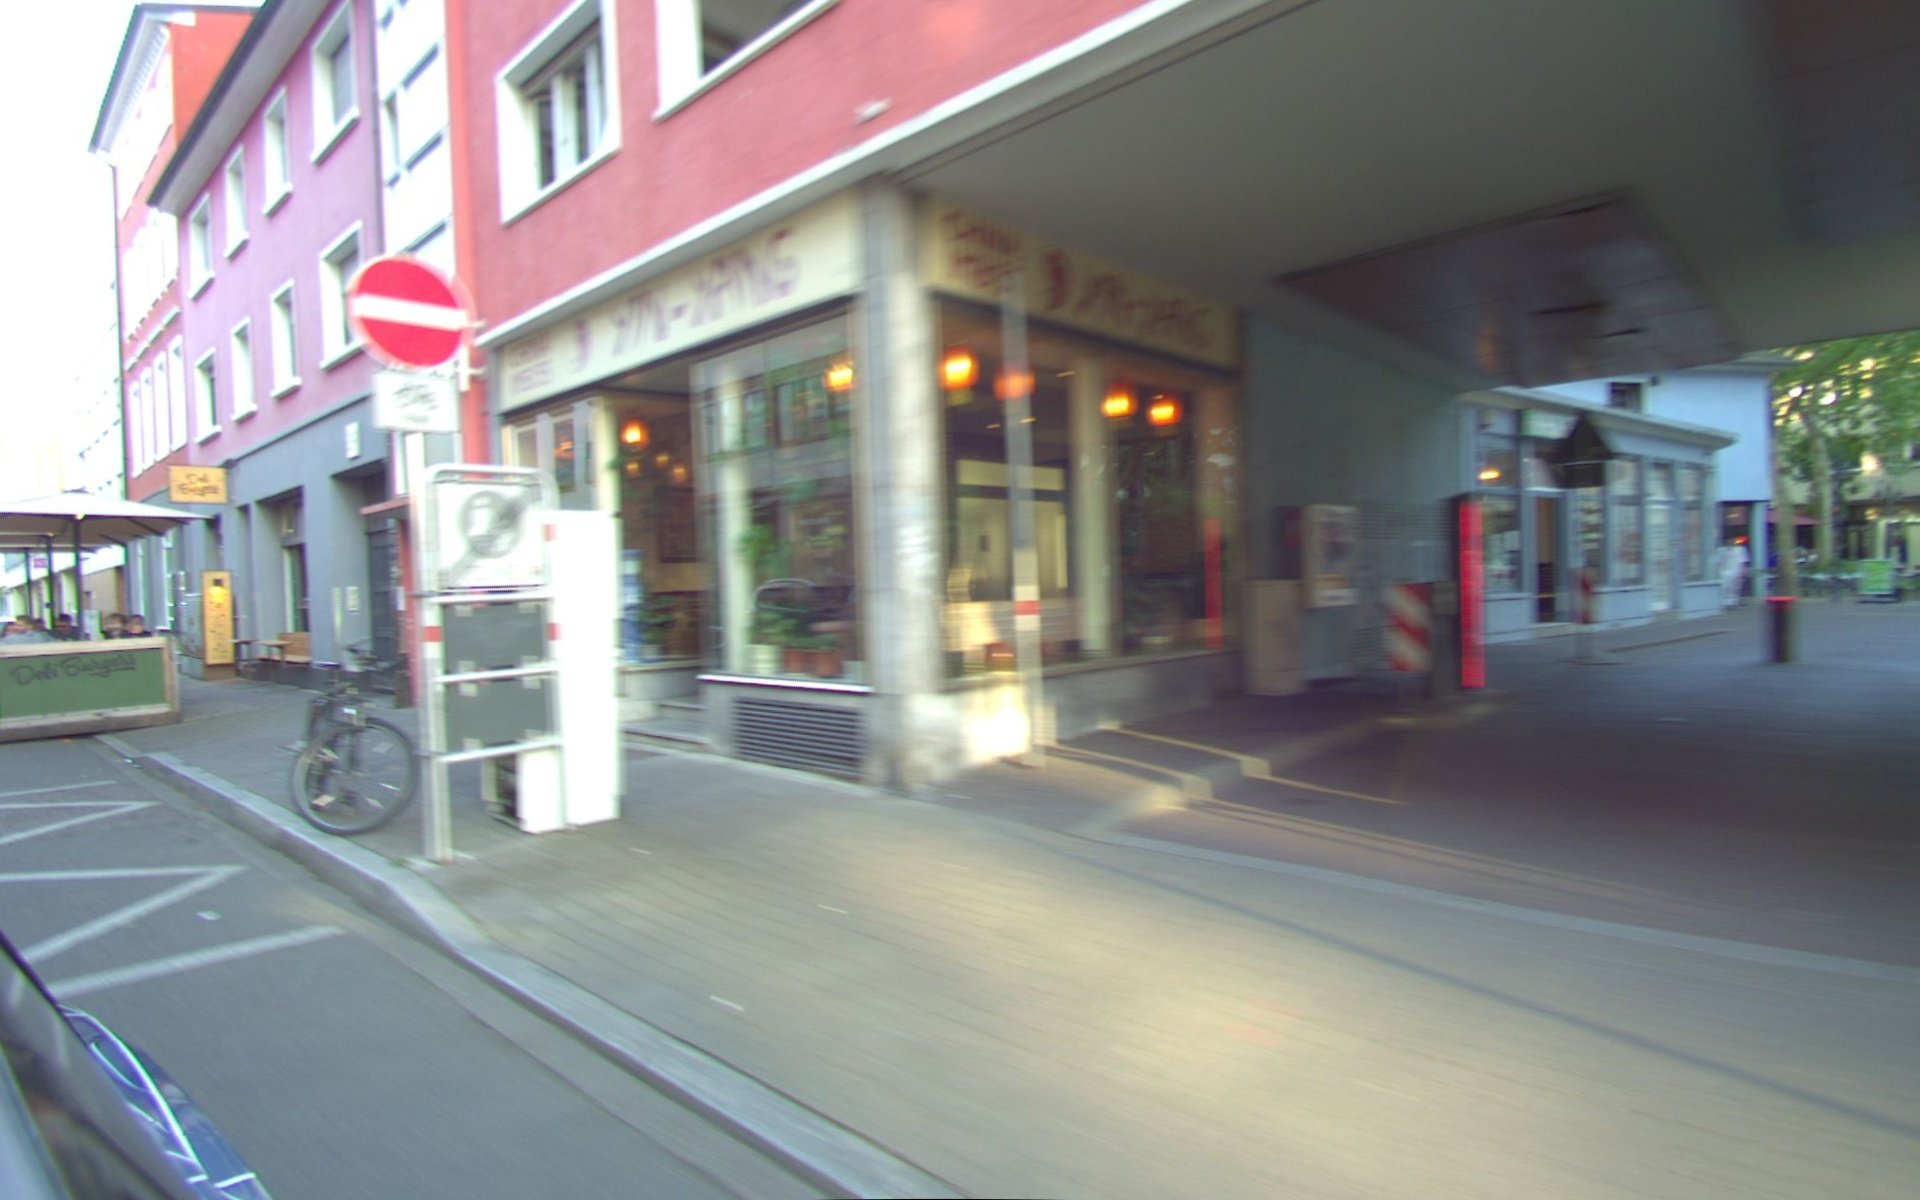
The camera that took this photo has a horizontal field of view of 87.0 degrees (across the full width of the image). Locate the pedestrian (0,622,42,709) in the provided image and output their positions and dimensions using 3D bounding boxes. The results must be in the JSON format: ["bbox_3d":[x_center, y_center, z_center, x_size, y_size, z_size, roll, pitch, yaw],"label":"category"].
[{"bbox_3d":[-12.221,0.829,12.914,0.546,1.070,0.605,-1,2,35],"label":"pedestrian"}]

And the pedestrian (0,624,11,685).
[{"bbox_3d":[-17.178,0.975,17.738,0.546,1.070,0.665,-1,2,35],"label":"pedestrian"}]

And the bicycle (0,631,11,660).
[{"bbox_3d":[-40.460,1.933,41.294,2.445,1.187,0.785,-3,2,-41],"label":"bicycle"}]

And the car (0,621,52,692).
[{"bbox_3d":[-22.014,1.281,22.891,4.133,1.471,1.700,-2,1,42],"label":"car"}]

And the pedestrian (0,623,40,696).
[{"bbox_3d":[-14.629,0.908,15.536,0.546,1.070,0.605,-1,2,35],"label":"pedestrian"}]

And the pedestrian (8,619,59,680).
[{"bbox_3d":[-16.835,0.893,18.394,0.492,1.044,0.552,-1,2,35],"label":"pedestrian"}]

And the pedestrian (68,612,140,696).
[{"bbox_3d":[-11.674,0.723,13.807,0.546,1.070,0.605,-1,2,35],"label":"pedestrian"}]

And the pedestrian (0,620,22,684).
[{"bbox_3d":[-16.543,0.890,17.282,0.559,1.075,0.626,-1,2,35],"label":"pedestrian"}]

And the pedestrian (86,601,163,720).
[{"bbox_3d":[-10.937,0.771,13.251,0.546,1.483,0.605,-1,1,35],"label":"pedestrian"}]

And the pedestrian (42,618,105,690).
[{"bbox_3d":[-13.979,0.837,15.959,0.546,1.070,0.596,-1,2,35],"label":"pedestrian"}]

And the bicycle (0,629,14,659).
[{"bbox_3d":[-39.851,1.849,40.762,2.445,1.187,0.785,-3,2,-41],"label":"bicycle"}]

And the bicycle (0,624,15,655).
[{"bbox_3d":[-39.191,1.640,40.118,2.445,1.187,0.785,-3,2,-41],"label":"bicycle"}]

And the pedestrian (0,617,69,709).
[{"bbox_3d":[-11.594,0.769,12.598,0.546,1.070,0.605,-1,2,35],"label":"pedestrian"}]

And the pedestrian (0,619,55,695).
[{"bbox_3d":[-13.999,0.842,15.096,0.546,1.070,0.605,-1,2,35],"label":"pedestrian"}]

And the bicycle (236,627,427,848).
[{"bbox_3d":[-4.056,0.791,6.466,1.842,1.201,0.538,-2,1,43],"label":"bicycle"}]
